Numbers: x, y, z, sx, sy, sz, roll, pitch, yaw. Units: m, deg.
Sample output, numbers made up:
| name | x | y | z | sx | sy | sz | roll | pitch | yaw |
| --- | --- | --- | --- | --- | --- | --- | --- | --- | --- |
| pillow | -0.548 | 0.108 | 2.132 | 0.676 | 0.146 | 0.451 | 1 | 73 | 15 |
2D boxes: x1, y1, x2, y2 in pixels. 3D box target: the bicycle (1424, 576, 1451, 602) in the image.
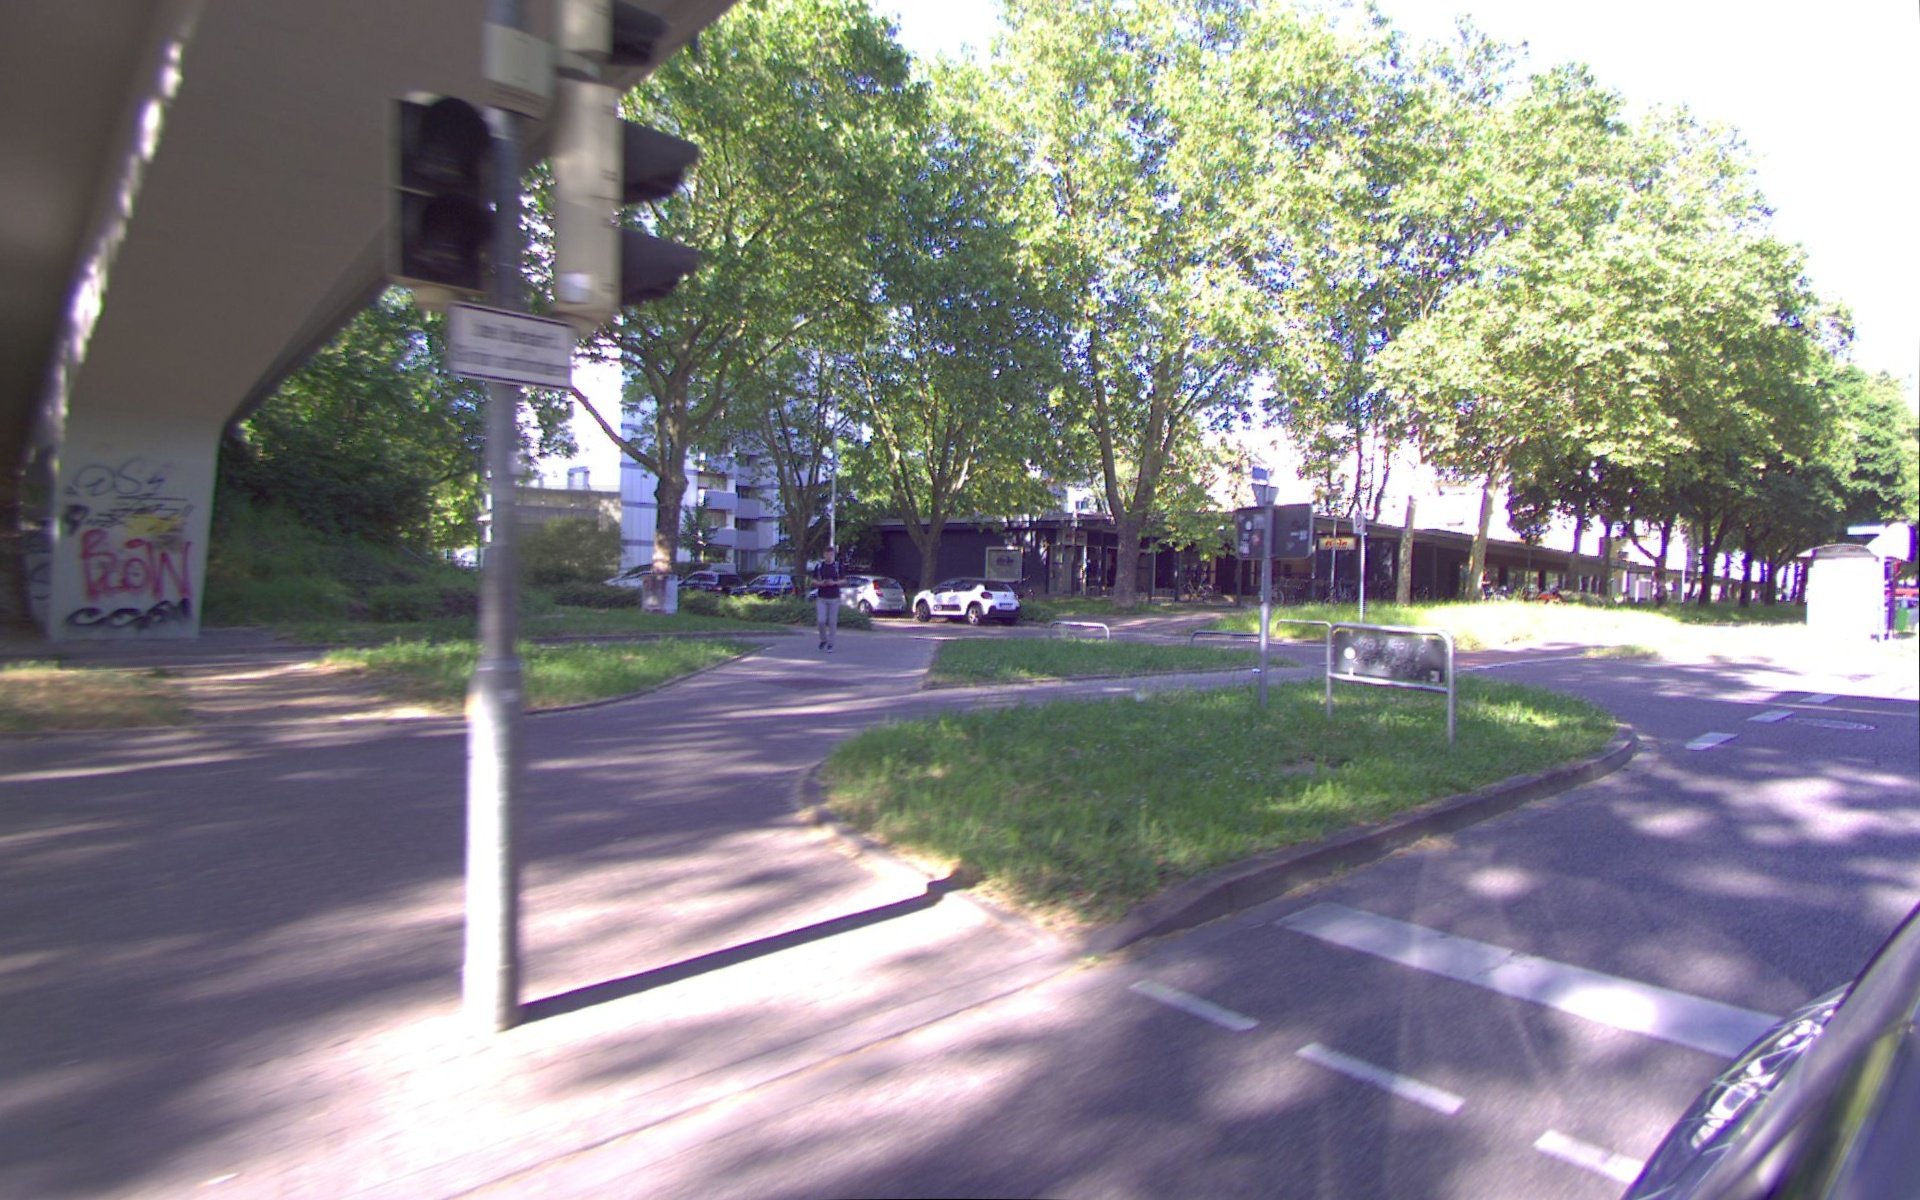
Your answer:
| name | x | y | z | sx | sy | sz | roll | pitch | yaw |
| --- | --- | --- | --- | --- | --- | --- | --- | --- | --- |
| bicycle | 23.281 | -0.535 | 49.365 | 1.775 | 1.269 | 0.576 | 0 | 0 | -43 |

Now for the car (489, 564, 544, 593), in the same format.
| name | x | y | z | sx | sy | sz | roll | pitch | yaw |
| --- | --- | --- | --- | --- | --- | --- | --- | --- | --- |
| car | -25.398 | -1.235 | 57.948 | 3.580 | 1.515 | 1.641 | 2 | -1 | 44 |

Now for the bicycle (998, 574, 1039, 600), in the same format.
| name | x | y | z | sx | sy | sz | roll | pitch | yaw |
| --- | --- | --- | --- | --- | --- | --- | --- | --- | --- |
| bicycle | 2.481 | -0.580 | 42.852 | 0.504 | 0.971 | 2.164 | 3 | 6 | 42 |

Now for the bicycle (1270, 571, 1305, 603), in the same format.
| name | x | y | z | sx | sy | sz | roll | pitch | yaw |
| --- | --- | --- | --- | --- | --- | --- | --- | --- | --- |
| bicycle | 13.493 | -0.535 | 41.646 | 1.775 | 1.269 | 0.576 | 0 | 0 | -43 |

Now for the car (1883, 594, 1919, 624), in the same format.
| name | x | y | z | sx | sy | sz | roll | pitch | yaw |
| --- | --- | --- | --- | --- | --- | --- | --- | --- | --- |
| car | 56.457 | 0.550 | 58.506 | 4.227 | 1.696 | 1.865 | 1 | 1 | 5 |

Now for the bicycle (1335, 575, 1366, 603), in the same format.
| name | x | y | z | sx | sy | sz | roll | pitch | yaw |
| --- | --- | --- | --- | --- | --- | --- | --- | --- | --- |
| bicycle | 17.718 | -0.500 | 45.879 | 1.775 | 1.269 | 0.576 | 0 | 0 | -43 |

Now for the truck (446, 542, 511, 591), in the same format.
| name | x | y | z | sx | sy | sz | roll | pitch | yaw |
| --- | --- | --- | --- | --- | --- | --- | --- | --- | --- |
| truck | -29.832 | -2.061 | 62.620 | 5.171 | 2.854 | 1.884 | 2 | -1 | 45 |

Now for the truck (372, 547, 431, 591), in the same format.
| name | x | y | z | sx | sy | sz | roll | pitch | yaw |
| --- | --- | --- | --- | --- | --- | --- | --- | --- | --- |
| truck | -40.352 | -2.226 | 73.038 | 5.162 | 3.017 | 1.887 | 2 | -1 | 40 |

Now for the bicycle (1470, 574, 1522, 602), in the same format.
| name | x | y | z | sx | sy | sz | roll | pitch | yaw |
| --- | --- | --- | --- | --- | --- | --- | --- | --- | --- |
| bicycle | 23.953 | -0.539 | 45.278 | 0.550 | 1.172 | 2.077 | 1 | 2 | -27 |

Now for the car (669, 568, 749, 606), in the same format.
| name | x | y | z | sx | sy | sz | roll | pitch | yaw |
| --- | --- | --- | --- | --- | --- | --- | --- | --- | --- |
| car | -10.819 | -0.586 | 43.592 | 3.577 | 1.515 | 1.602 | 2 | -1 | 42 |

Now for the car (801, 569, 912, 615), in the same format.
| name | x | y | z | sx | sy | sz | roll | pitch | yaw |
| --- | --- | --- | --- | --- | --- | --- | --- | --- | --- |
| car | -3.797 | -0.305 | 36.815 | 3.965 | 1.515 | 1.645 | 2 | -1 | 39 |

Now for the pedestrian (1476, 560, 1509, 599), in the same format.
| name | x | y | z | sx | sy | sz | roll | pitch | yaw |
| --- | --- | --- | --- | --- | --- | --- | --- | --- | --- |
| pedestrian | 23.820 | -0.918 | 45.255 | 1.126 | 1.729 | 0.722 | 3 | 2 | 40 |

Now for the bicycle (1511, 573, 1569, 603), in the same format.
| name | x | y | z | sx | sy | sz | roll | pitch | yaw |
| --- | --- | --- | --- | --- | --- | --- | --- | --- | --- |
| bicycle | 24.648 | -0.508 | 43.025 | 2.063 | 1.172 | 0.554 | 4 | 3 | 39 |

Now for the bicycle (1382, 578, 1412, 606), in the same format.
| name | x | y | z | sx | sy | sz | roll | pitch | yaw |
| --- | --- | --- | --- | --- | --- | --- | --- | --- | --- |
| bicycle | 19.860 | -0.377 | 45.943 | 1.775 | 1.269 | 0.576 | 0 | 0 | -43 |

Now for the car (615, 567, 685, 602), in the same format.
| name | x | y | z | sx | sy | sz | roll | pitch | yaw |
| --- | --- | --- | --- | --- | --- | --- | --- | --- | --- |
| car | -14.545 | -0.754 | 47.365 | 3.579 | 1.515 | 1.559 | 2 | -1 | 44 |

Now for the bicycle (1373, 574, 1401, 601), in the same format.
| name | x | y | z | sx | sy | sz | roll | pitch | yaw |
| --- | --- | --- | --- | --- | --- | --- | --- | --- | --- |
| bicycle | 20.742 | -0.612 | 49.162 | 1.775 | 1.269 | 0.576 | 0 | 0 | -43 |

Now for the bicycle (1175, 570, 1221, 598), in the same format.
| name | x | y | z | sx | sy | sz | roll | pitch | yaw |
| --- | --- | --- | --- | --- | --- | --- | --- | --- | --- |
| bicycle | 10.090 | -0.696 | 42.945 | 1.800 | 1.129 | 0.700 | 3 | 4 | 42 |

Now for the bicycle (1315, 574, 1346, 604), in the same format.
| name | x | y | z | sx | sy | sz | roll | pitch | yaw |
| --- | --- | --- | --- | --- | --- | --- | --- | --- | --- |
| bicycle | 16.273 | -0.482 | 44.432 | 1.775 | 1.269 | 0.576 | 0 | 0 | -43 |

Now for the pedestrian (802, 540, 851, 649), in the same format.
| name | x | y | z | sx | sy | sz | roll | pitch | yaw |
| --- | --- | --- | --- | --- | --- | --- | --- | --- | --- |
| pedestrian | -2.293 | -0.098 | 17.406 | 0.725 | 1.800 | 0.661 | 2 | 0 | -3 |

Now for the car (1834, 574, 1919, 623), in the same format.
| name | x | y | z | sx | sy | sz | roll | pitch | yaw |
| --- | --- | --- | --- | --- | --- | --- | --- | --- | --- |
| car | 38.906 | -0.035 | 41.760 | 3.880 | 1.865 | 1.768 | 2 | 2 | 4 |

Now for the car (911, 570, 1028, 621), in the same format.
| name | x | y | z | sx | sy | sz | roll | pitch | yaw |
| --- | --- | --- | --- | --- | --- | --- | --- | --- | --- |
| car | 0.258 | -0.151 | 32.664 | 1.680 | 1.515 | 3.734 | 3 | -1 | -42 |

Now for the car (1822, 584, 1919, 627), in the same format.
| name | x | y | z | sx | sy | sz | roll | pitch | yaw |
| --- | --- | --- | --- | --- | --- | --- | --- | --- | --- |
| car | 36.129 | 0.240 | 39.300 | 3.762 | 1.490 | 1.517 | 3 | 2 | 5 |

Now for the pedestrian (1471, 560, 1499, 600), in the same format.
| name | x | y | z | sx | sy | sz | roll | pitch | yaw |
| --- | --- | --- | --- | --- | --- | --- | --- | --- | --- |
| pedestrian | 24.970 | -0.949 | 48.155 | 0.963 | 1.863 | 0.939 | 3 | 2 | 40 |

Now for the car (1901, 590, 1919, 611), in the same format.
| name | x | y | z | sx | sy | sz | roll | pitch | yaw |
| --- | --- | --- | --- | --- | --- | --- | --- | --- | --- |
| car | 67.673 | 0.153 | 69.195 | 4.589 | 1.442 | 2.000 | 3 | 2 | 1 |

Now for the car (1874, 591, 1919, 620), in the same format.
| name | x | y | z | sx | sy | sz | roll | pitch | yaw |
| --- | --- | --- | --- | --- | --- | --- | --- | --- | --- |
| car | 50.959 | 0.344 | 53.268 | 4.011 | 1.420 | 1.687 | 3 | 2 | 1 |

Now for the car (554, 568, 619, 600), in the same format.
| name | x | y | z | sx | sy | sz | roll | pitch | yaw |
| --- | --- | --- | --- | --- | --- | --- | --- | --- | --- |
| car | -19.024 | -0.816 | 51.460 | 3.578 | 1.515 | 1.642 | 2 | -1 | 43 |

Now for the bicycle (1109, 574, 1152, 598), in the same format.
| name | x | y | z | sx | sy | sz | roll | pitch | yaw |
| --- | --- | --- | --- | --- | --- | --- | --- | --- | --- |
| bicycle | 7.632 | -0.649 | 45.338 | 1.800 | 0.966 | 0.700 | 6 | 4 | 42 |

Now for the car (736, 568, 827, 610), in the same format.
| name | x | y | z | sx | sy | sz | roll | pitch | yaw |
| --- | --- | --- | --- | --- | --- | --- | --- | --- | --- |
| car | -7.039 | -0.456 | 39.767 | 3.577 | 1.515 | 1.598 | 2 | -1 | 42 |
